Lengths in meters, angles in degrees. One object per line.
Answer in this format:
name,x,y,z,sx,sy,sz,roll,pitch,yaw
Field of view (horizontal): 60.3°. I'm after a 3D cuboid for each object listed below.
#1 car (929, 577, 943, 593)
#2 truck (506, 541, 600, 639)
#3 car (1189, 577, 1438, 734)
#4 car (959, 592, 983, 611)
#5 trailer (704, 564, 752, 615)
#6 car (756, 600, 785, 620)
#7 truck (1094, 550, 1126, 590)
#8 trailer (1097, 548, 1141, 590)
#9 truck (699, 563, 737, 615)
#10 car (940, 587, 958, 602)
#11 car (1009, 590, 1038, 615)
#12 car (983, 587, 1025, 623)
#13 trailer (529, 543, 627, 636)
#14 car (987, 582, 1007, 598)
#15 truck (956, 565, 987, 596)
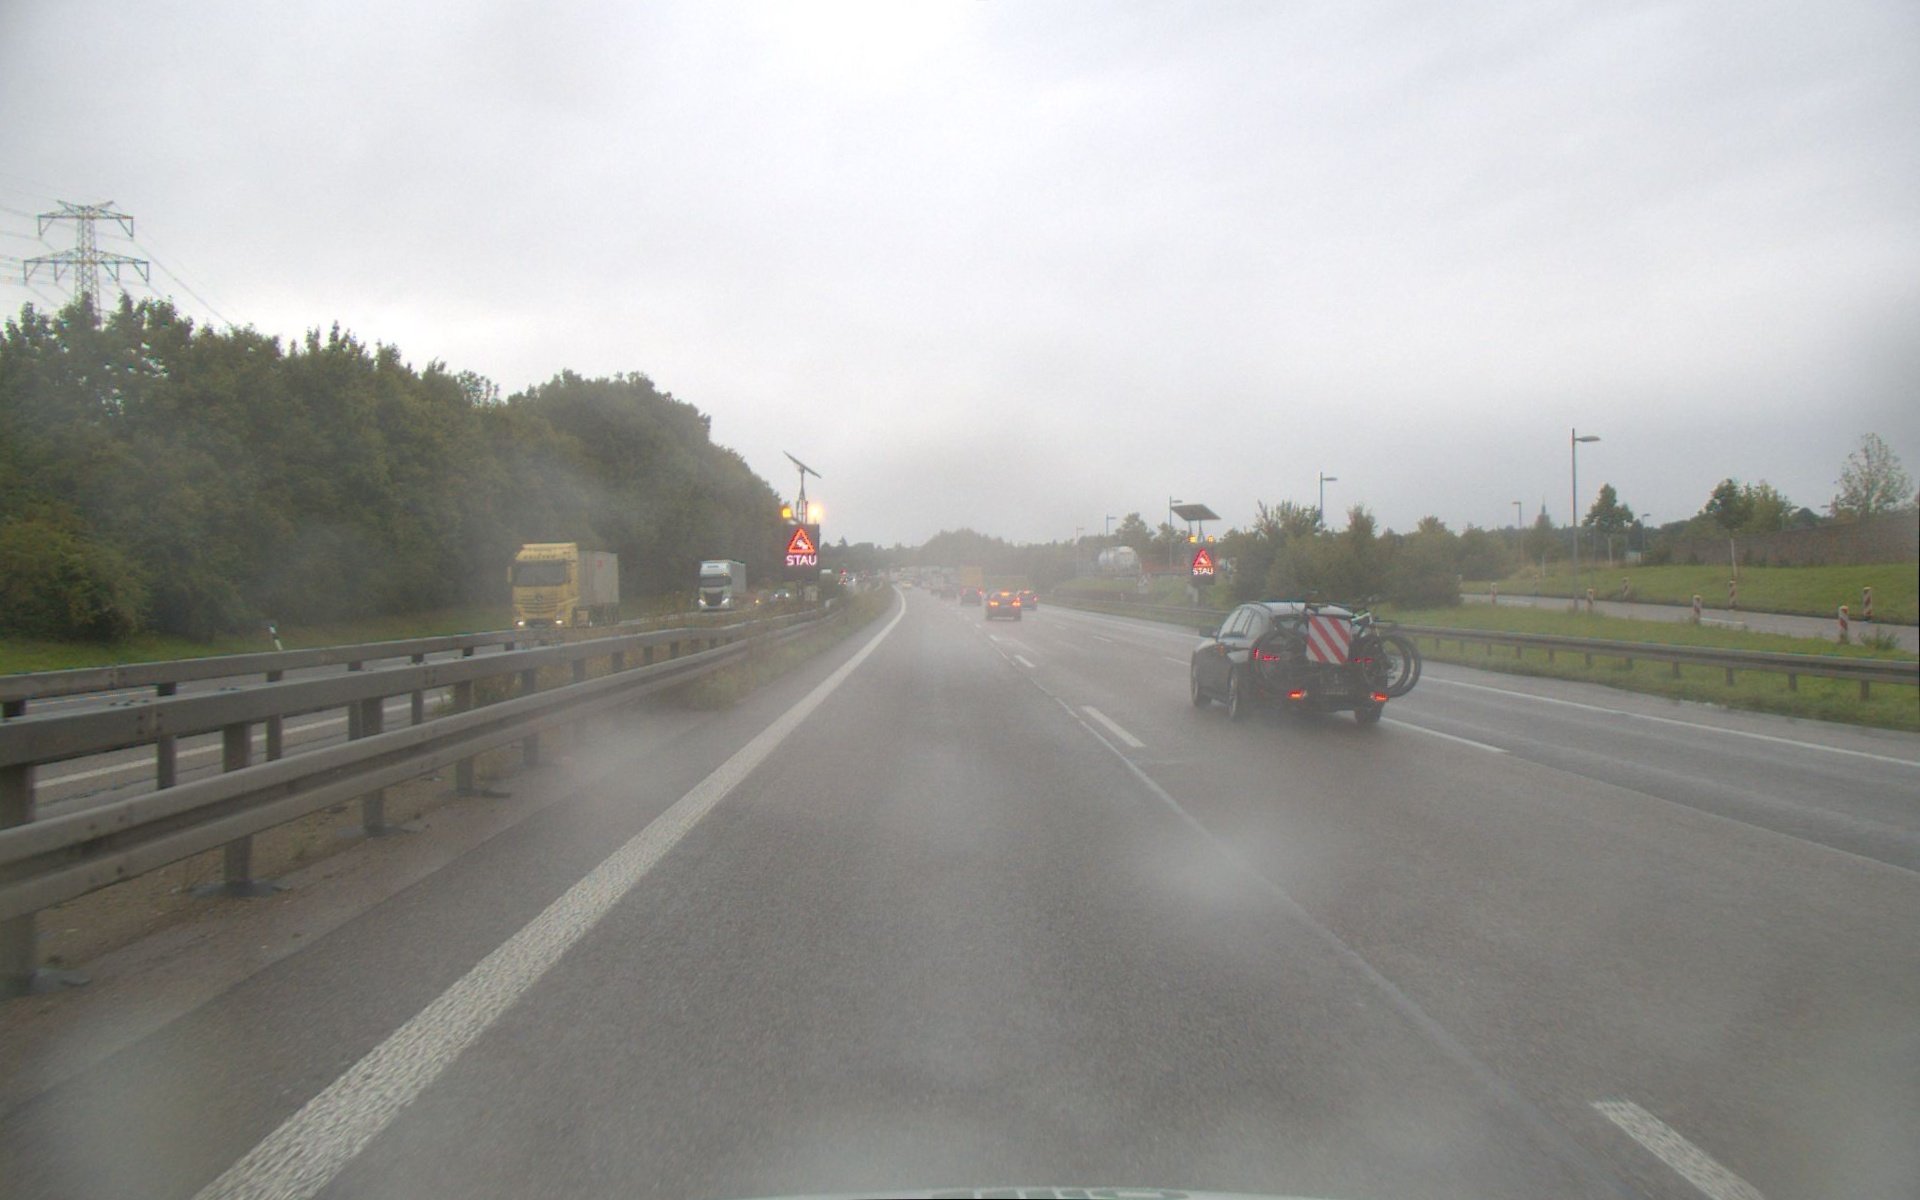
car,-3.448,-2.191,241.804,1.953,2.243,3.999,-1,0,-2
truck,-18.216,-0.456,74.323,2.706,4.126,6.155,-2,0,-2
car,4.276,0.639,20.966,2.015,1.701,5.521,1,-1,0
car,0.937,0.140,146.627,1.953,1.657,3.999,-1,0,-2
trailer,-20.482,-0.966,146.782,2.590,4.311,13.908,-1,0,-1
car,-15.414,0.770,134.763,1.837,1.519,4.513,-2,0,-1
truck,16.452,-3.241,181.225,2.889,4.218,4.921,-1,0,-1
trailer,16.668,-3.219,174.175,2.925,4.229,12.952,-1,0,-2
truck,-20.340,-0.915,139.017,2.590,4.311,3.999,-1,0,-1
car,-1.272,-0.690,189.108,1.953,1.657,3.999,-1,0,-2
car,4.879,0.175,126.823,1.953,1.791,3.999,-1,0,-2
car,2.262,0.253,86.222,1.953,1.791,3.999,-1,0,-2
trailer,-18.385,-0.501,80.129,2.706,4.126,9.198,-2,0,-2
car,4.110,-1.084,183.005,1.953,1.657,3.999,-1,0,-2
truck,1.542,-2.601,226.893,3.845,4.051,12.235,-1,0,-2
